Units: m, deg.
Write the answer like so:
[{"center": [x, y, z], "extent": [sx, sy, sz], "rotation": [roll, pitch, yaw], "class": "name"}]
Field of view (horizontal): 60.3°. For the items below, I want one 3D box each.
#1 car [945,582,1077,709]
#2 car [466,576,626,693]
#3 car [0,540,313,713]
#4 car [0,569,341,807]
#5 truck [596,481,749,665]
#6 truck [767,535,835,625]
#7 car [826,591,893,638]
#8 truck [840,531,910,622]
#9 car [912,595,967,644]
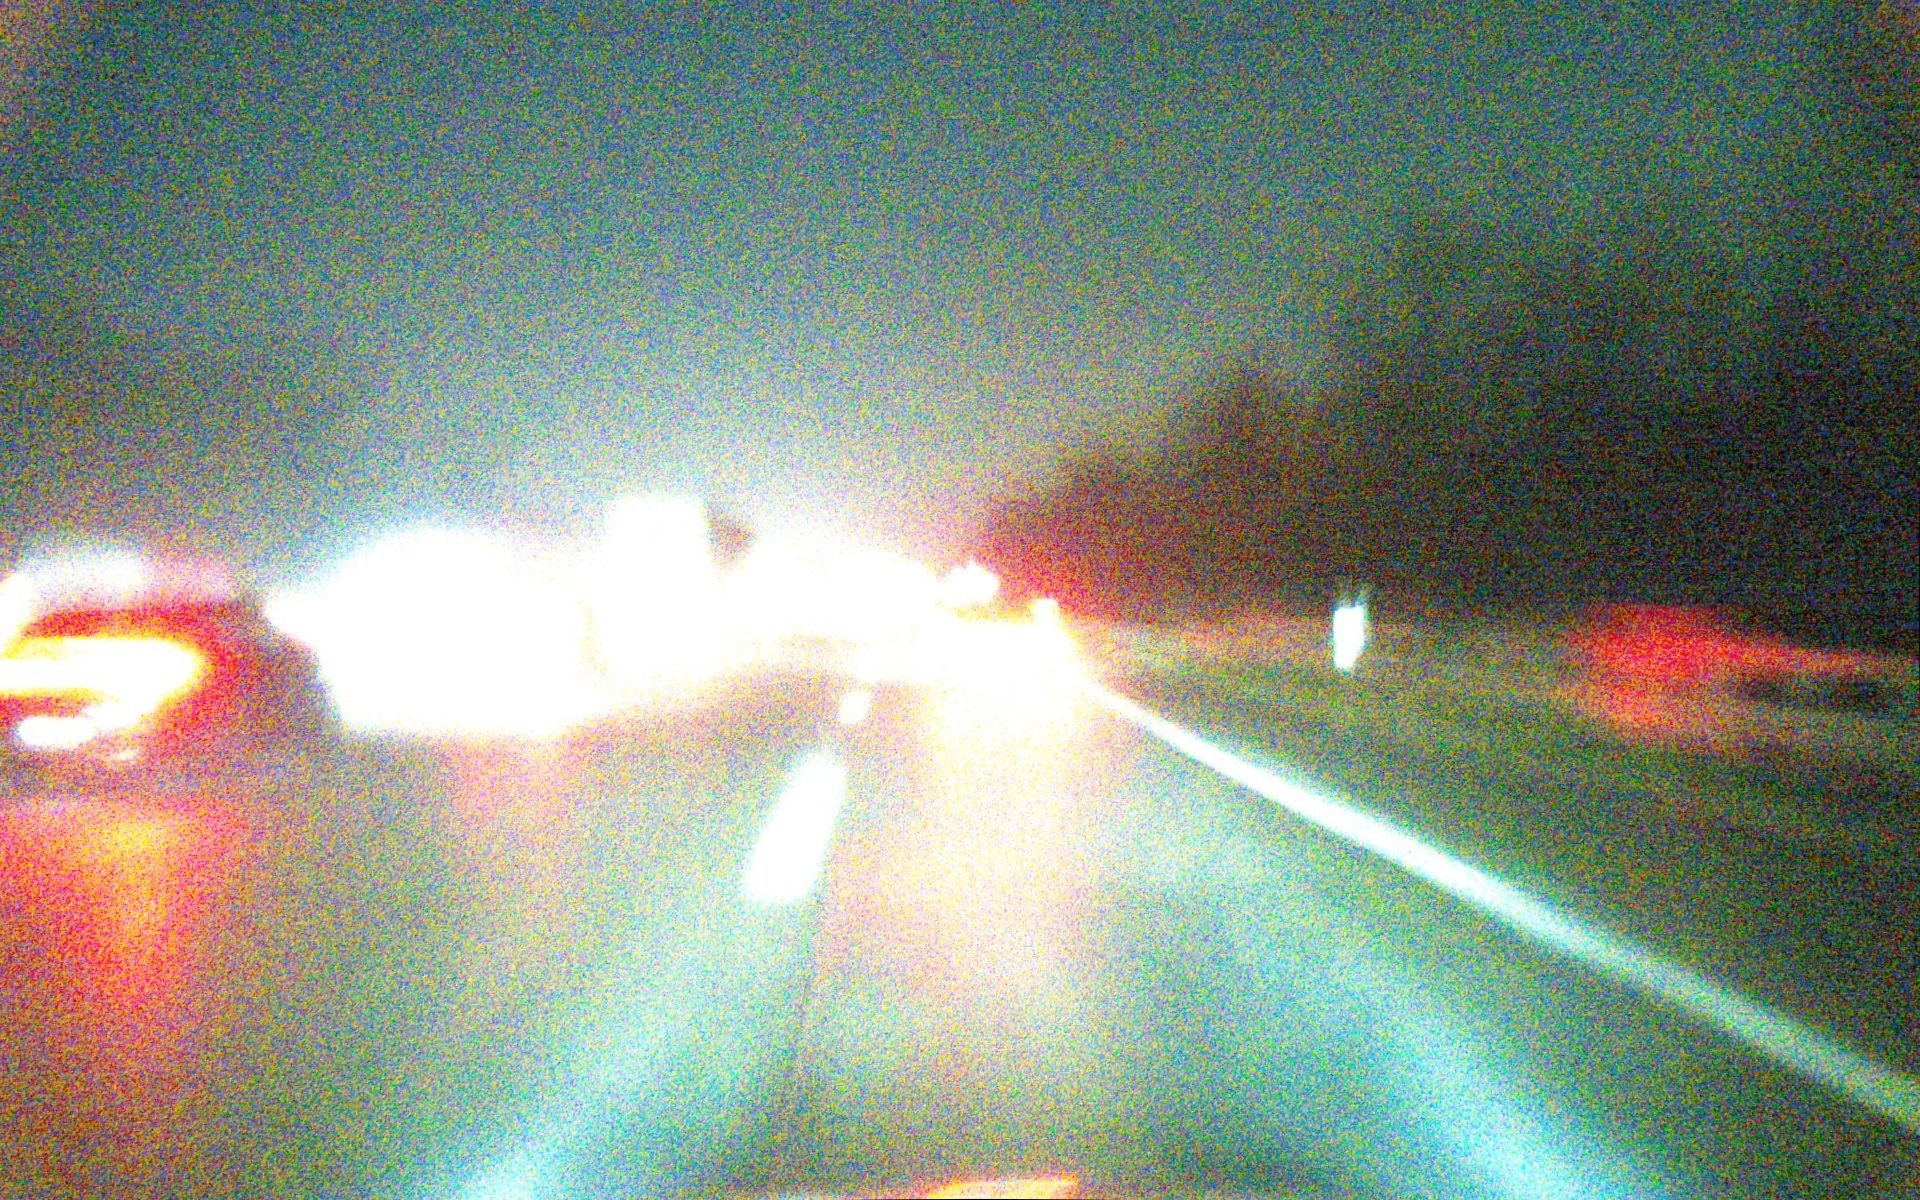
[{"center": [0.705, 0.648, 25.481], "extent": [1.840, 1.793, 3.999], "rotation": [1, 0, -1], "class": "car"}, {"center": [-6.819, 0.534, 27.704], "extent": [2.000, 1.792, 4.509], "rotation": [1, 0, -6], "class": "car"}, {"center": [-11.193, 0.314, 23.356], "extent": [2.080, 2.141, 5.626], "rotation": [0, 0, -2], "class": "car"}, {"center": [-6.681, 0.607, 13.963], "extent": [1.731, 1.718, 3.996], "rotation": [0, 1, -5], "class": "car"}, {"center": [-8.202, -0.701, 48.498], "extent": [3.585, 4.820, 9.841], "rotation": [1, 0, -5], "class": "truck"}, {"center": [-10.409, -1.251, 108.765], "extent": [4.171, 5.539, 10.873], "rotation": [1, 0, -5], "class": "truck"}, {"center": [-4.534, 0.661, 75.772], "extent": [2.775, 2.049, 5.509], "rotation": [1, 0, -1], "class": "car"}, {"center": [-5.406, -1.382, 103.118], "extent": [4.079, 5.306, 9.945], "rotation": [1, 0, -4], "class": "truck"}, {"center": [-0.785, 0.698, 62.016], "extent": [1.953, 1.733, 4.457], "rotation": [1, 0, -1], "class": "car"}]
